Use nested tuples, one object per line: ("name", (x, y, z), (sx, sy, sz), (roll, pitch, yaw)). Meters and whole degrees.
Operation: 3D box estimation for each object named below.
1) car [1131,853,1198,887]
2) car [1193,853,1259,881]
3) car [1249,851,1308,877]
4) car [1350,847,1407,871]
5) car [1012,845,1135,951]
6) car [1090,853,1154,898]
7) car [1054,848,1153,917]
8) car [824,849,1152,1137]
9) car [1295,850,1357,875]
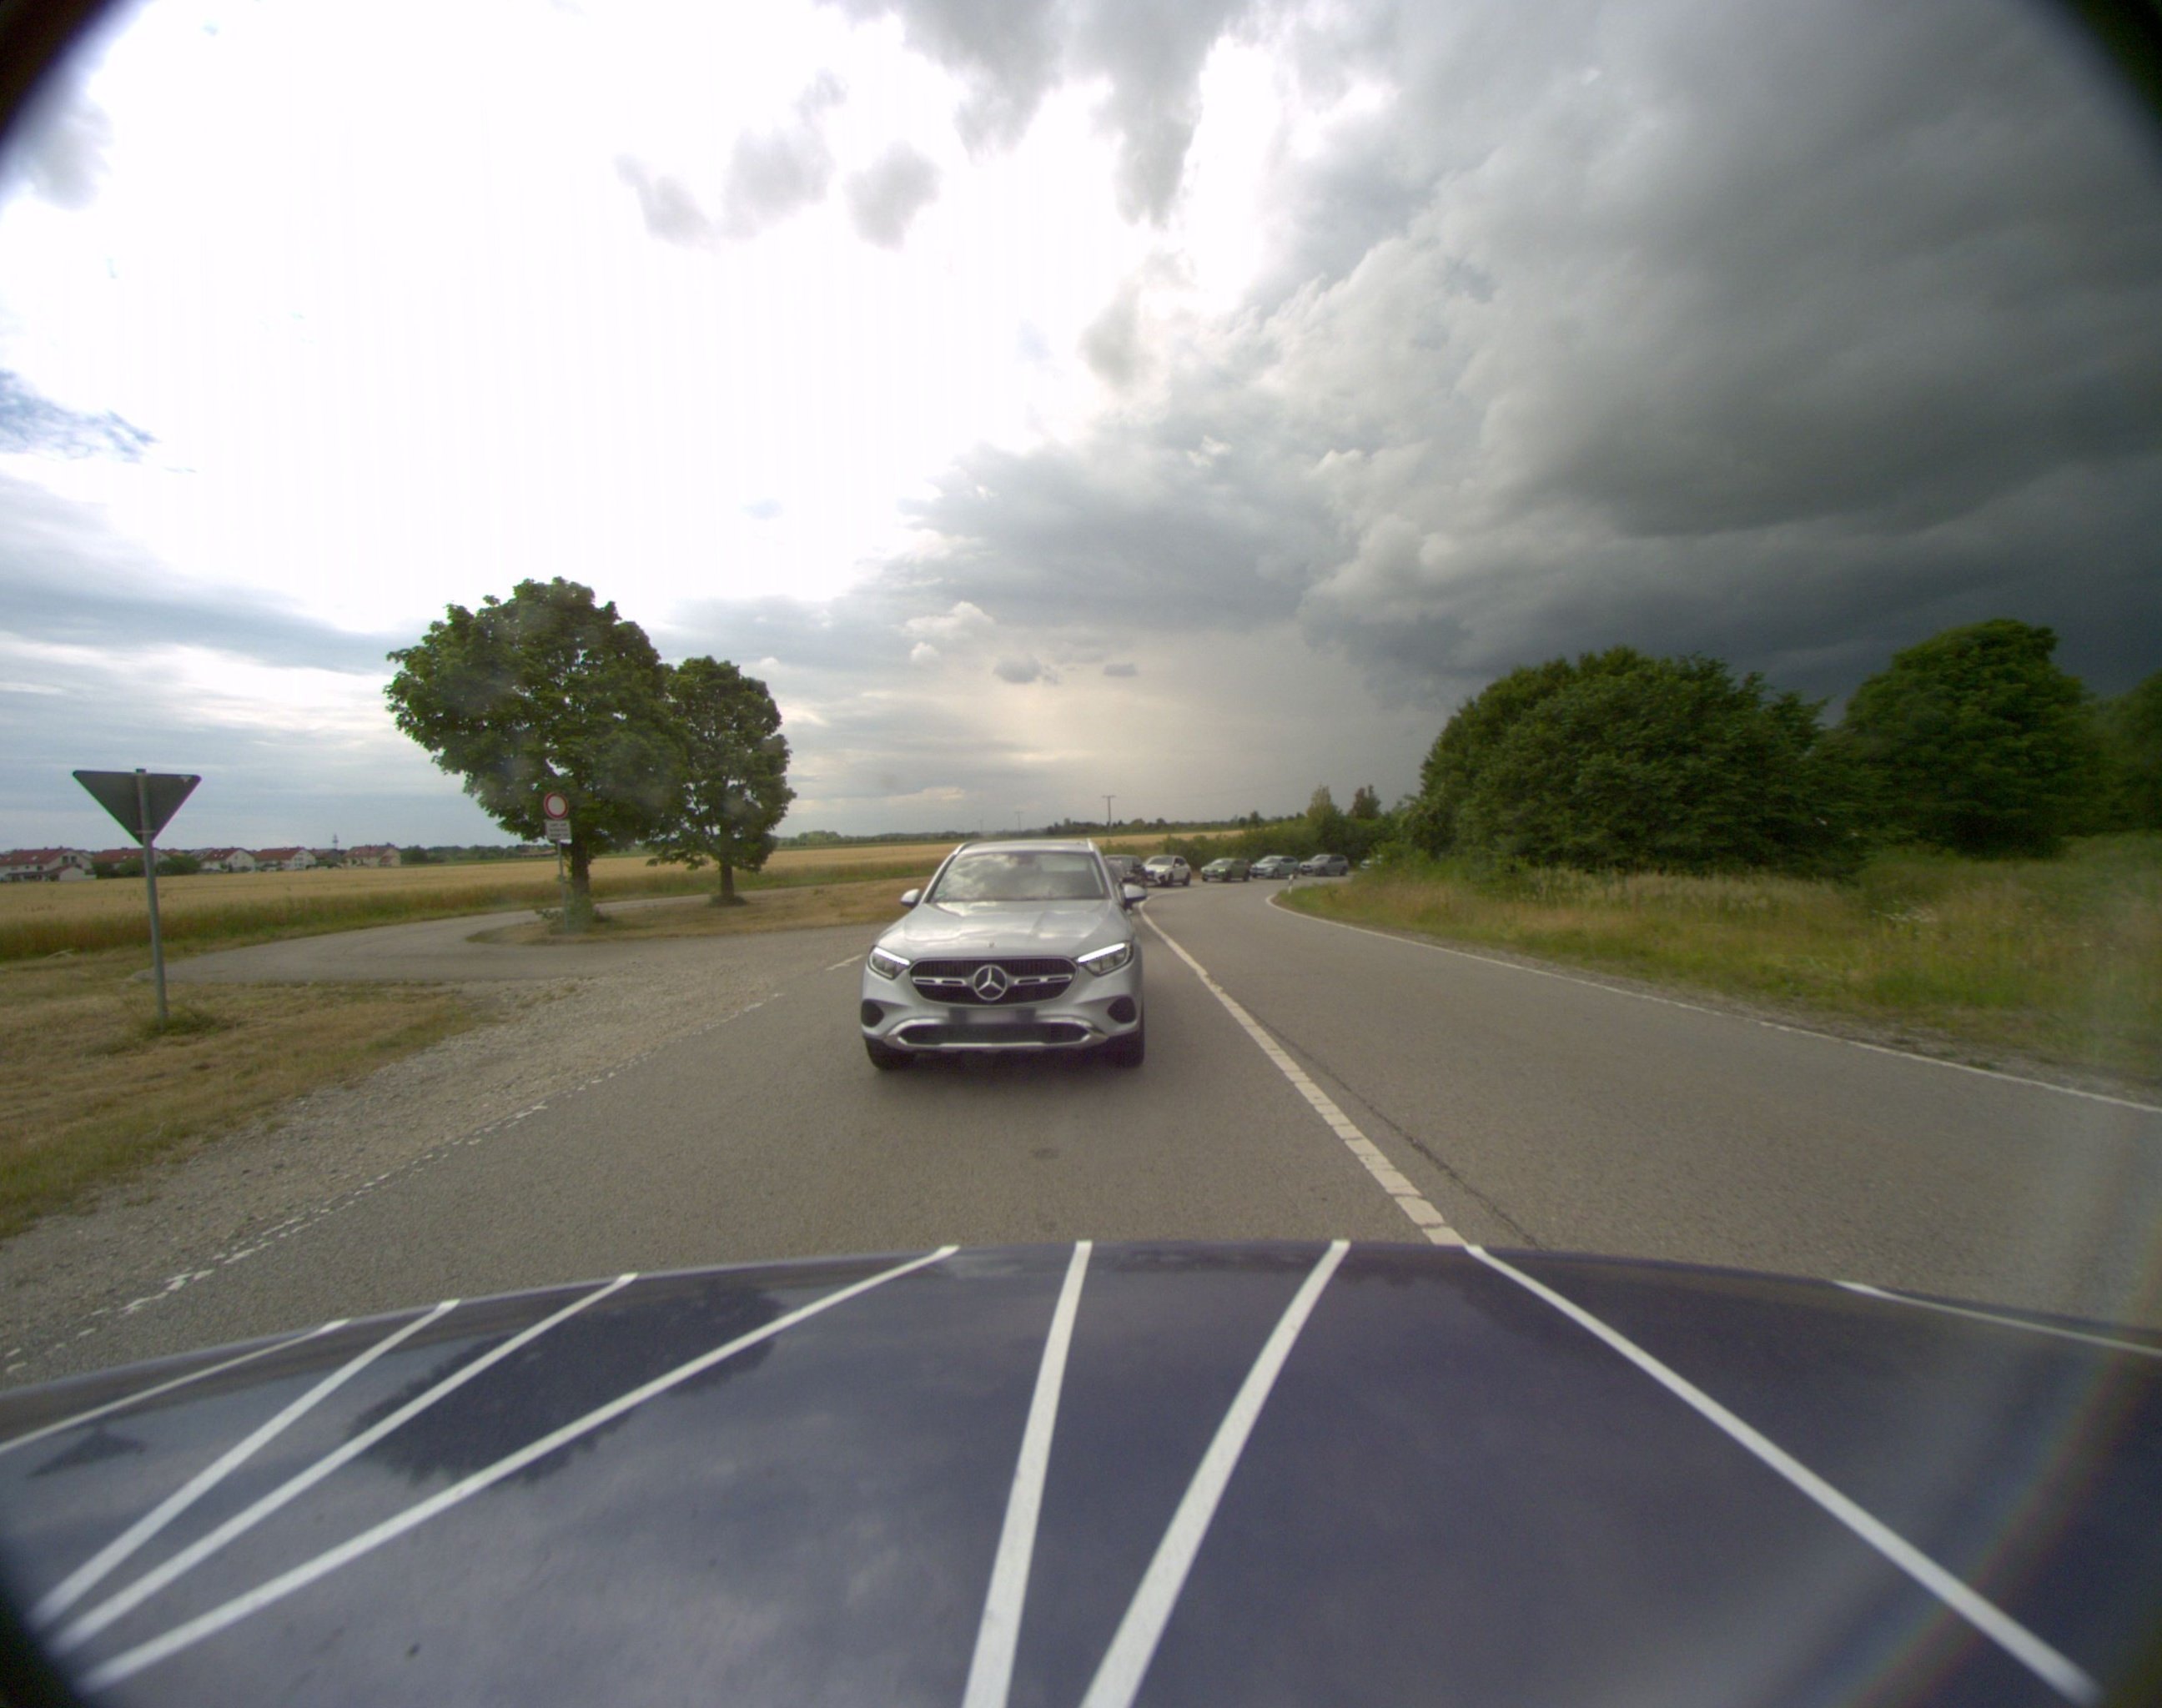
("car", (4.703, 0.822, 41.898), (1.995, 1.710, 5.217), (2, 1, 26))
("car", (9.527, 0.785, 49.478), (1.994, 1.710, 5.220), (2, 1, 38))
("car", (14.431, 0.695, 55.259), (1.994, 1.710, 5.220), (2, 1, 42))
("car", (25.465, 0.400, 64.902), (5.217, 1.710, 1.994), (-3, 4, -36))
("car", (0.042, 0.769, 15.124), (1.998, 1.709, 5.211), (-1, -1, 4))
("car", (1.853, 0.835, 32.470), (1.997, 1.710, 5.212), (1, 1, 11))
("car", (0.817, 0.761, 22.095), (1.997, 1.709, 5.214), (1, -1, 11))
("car", (-0.501, 0.790, 6.611), (1.836, 1.577, 4.449), (-2, 1, 1))
("car", (19.389, 0.653, 60.102), (5.217, 1.710, 1.994), (-3, 4, -36))
